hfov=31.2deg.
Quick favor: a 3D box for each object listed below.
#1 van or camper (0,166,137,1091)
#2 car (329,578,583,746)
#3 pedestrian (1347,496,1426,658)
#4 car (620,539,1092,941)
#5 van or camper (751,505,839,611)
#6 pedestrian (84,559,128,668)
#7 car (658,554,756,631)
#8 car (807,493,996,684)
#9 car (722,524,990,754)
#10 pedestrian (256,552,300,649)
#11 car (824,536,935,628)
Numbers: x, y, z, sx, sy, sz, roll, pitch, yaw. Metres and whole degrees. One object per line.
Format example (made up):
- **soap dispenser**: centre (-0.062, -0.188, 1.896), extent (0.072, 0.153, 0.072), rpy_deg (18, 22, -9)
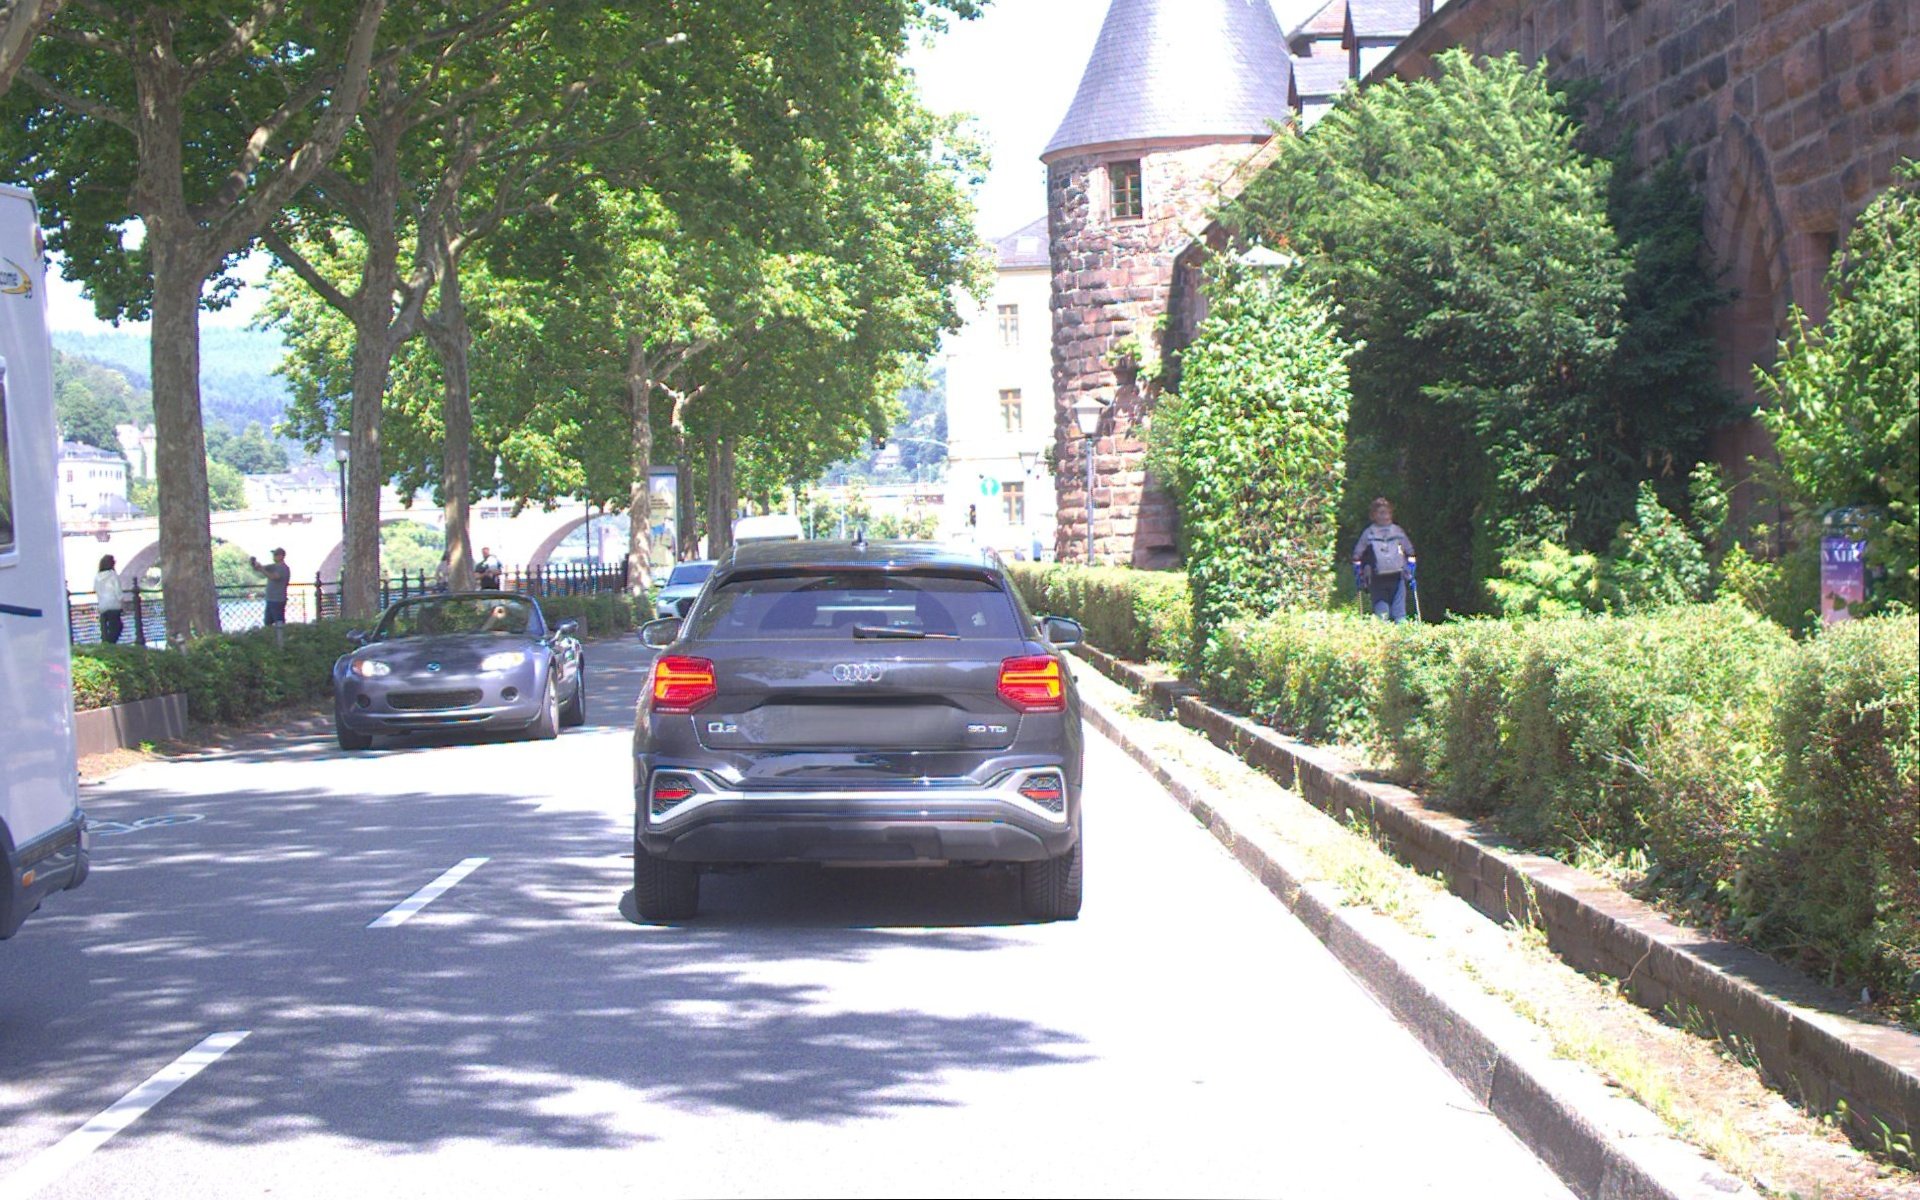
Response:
- **van or camper**: centre (-3.886, 0.123, 8.193), extent (2.322, 2.653, 6.265), rpy_deg (-3, 1, -1)
- **car**: centre (-4.070, 0.467, 28.209), extent (1.698, 1.207, 3.486), rpy_deg (-2, 1, -3)
- **pedestrian**: centre (4.450, -0.240, 35.906), extent (0.698, 1.647, 0.705), rpy_deg (-2, 1, 2)
- **car**: centre (-0.448, 0.496, 14.650), extent (1.748, 1.489, 3.629), rpy_deg (1, 1, -2)
- **van or camper**: centre (-4.281, -1.095, 90.067), extent (1.960, 2.558, 5.841), rpy_deg (-3, 1, -1)
- **pedestrian**: centre (-13.459, 0.203, 54.197), extent (0.584, 1.705, 0.403), rpy_deg (1, 0, -2)
- **car**: centre (-5.157, -0.175, 70.549), extent (1.769, 1.452, 4.534), rpy_deg (-2, 1, -2)
- **car**: centre (-0.671, -0.162, 39.731), extent (1.993, 2.007, 4.000), rpy_deg (-2, 1, -1)
- **car**: centre (-0.722, 0.243, 26.164), extent (1.801, 1.557, 3.716), rpy_deg (-2, 1, 1)
- **pedestrian**: centre (-11.467, 0.001, 57.821), extent (0.644, 1.613, 0.459), rpy_deg (1, 0, -2)
- **car**: centre (-1.400, -0.324, 59.031), extent (1.769, 1.452, 4.534), rpy_deg (-2, 1, -2)
